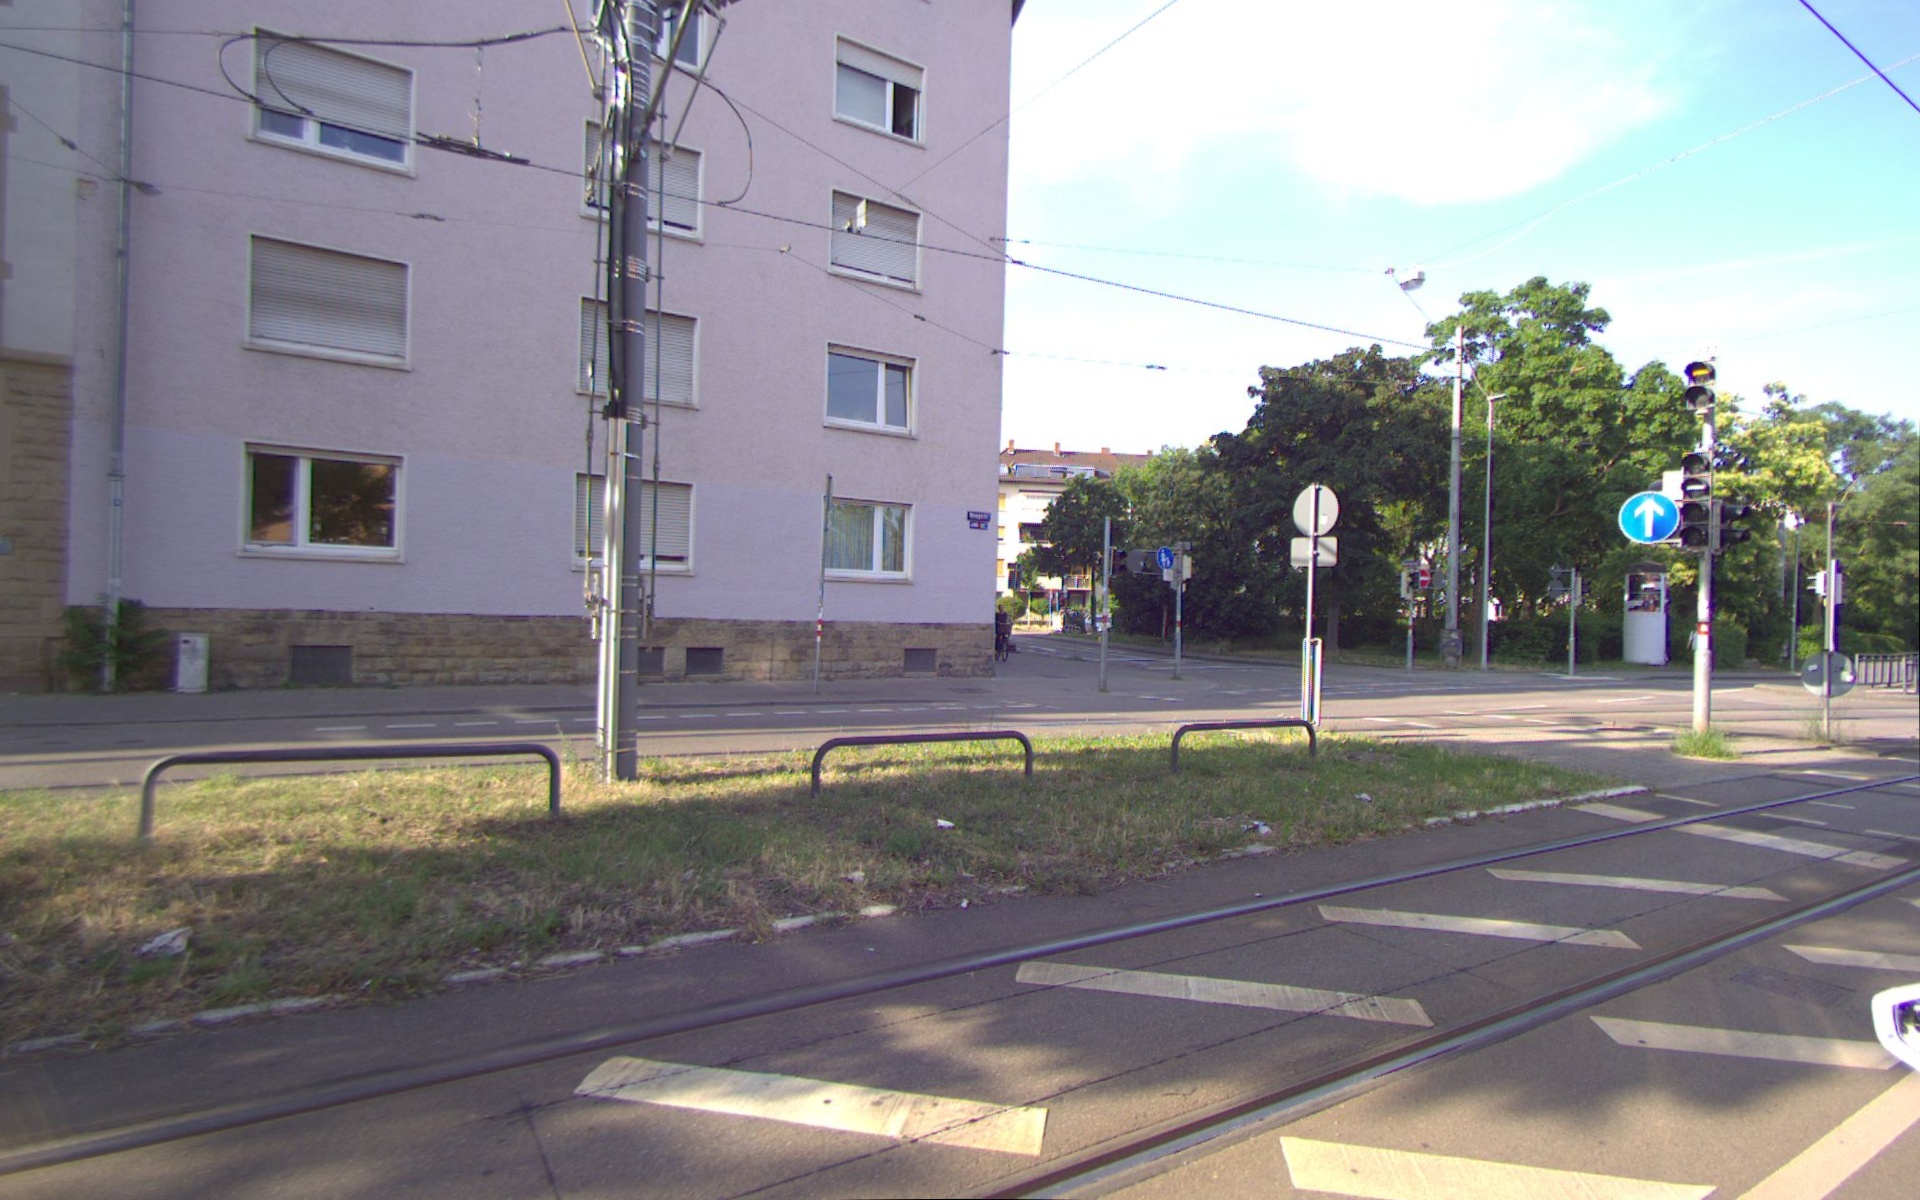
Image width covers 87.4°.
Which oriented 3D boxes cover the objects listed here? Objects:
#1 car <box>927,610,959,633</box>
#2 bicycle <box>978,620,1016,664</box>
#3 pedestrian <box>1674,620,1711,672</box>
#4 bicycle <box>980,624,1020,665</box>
[{"bbox_3d":[-1.516,1.841,86.660,1.965,1.748,3.990,2,0,-12],"label":"car"},{"bbox_3d":[1.119,1.288,31.220,0.722,1.219,1.976,2,0,-11],"label":"bicycle"},{"bbox_3d":[28.027,1.744,38.435,0.704,1.935,0.992,1,1,-45],"label":"pedestrian"},{"bbox_3d":[1.199,1.317,30.410,0.722,1.125,1.912,2,0,-12],"label":"bicycle"}]
